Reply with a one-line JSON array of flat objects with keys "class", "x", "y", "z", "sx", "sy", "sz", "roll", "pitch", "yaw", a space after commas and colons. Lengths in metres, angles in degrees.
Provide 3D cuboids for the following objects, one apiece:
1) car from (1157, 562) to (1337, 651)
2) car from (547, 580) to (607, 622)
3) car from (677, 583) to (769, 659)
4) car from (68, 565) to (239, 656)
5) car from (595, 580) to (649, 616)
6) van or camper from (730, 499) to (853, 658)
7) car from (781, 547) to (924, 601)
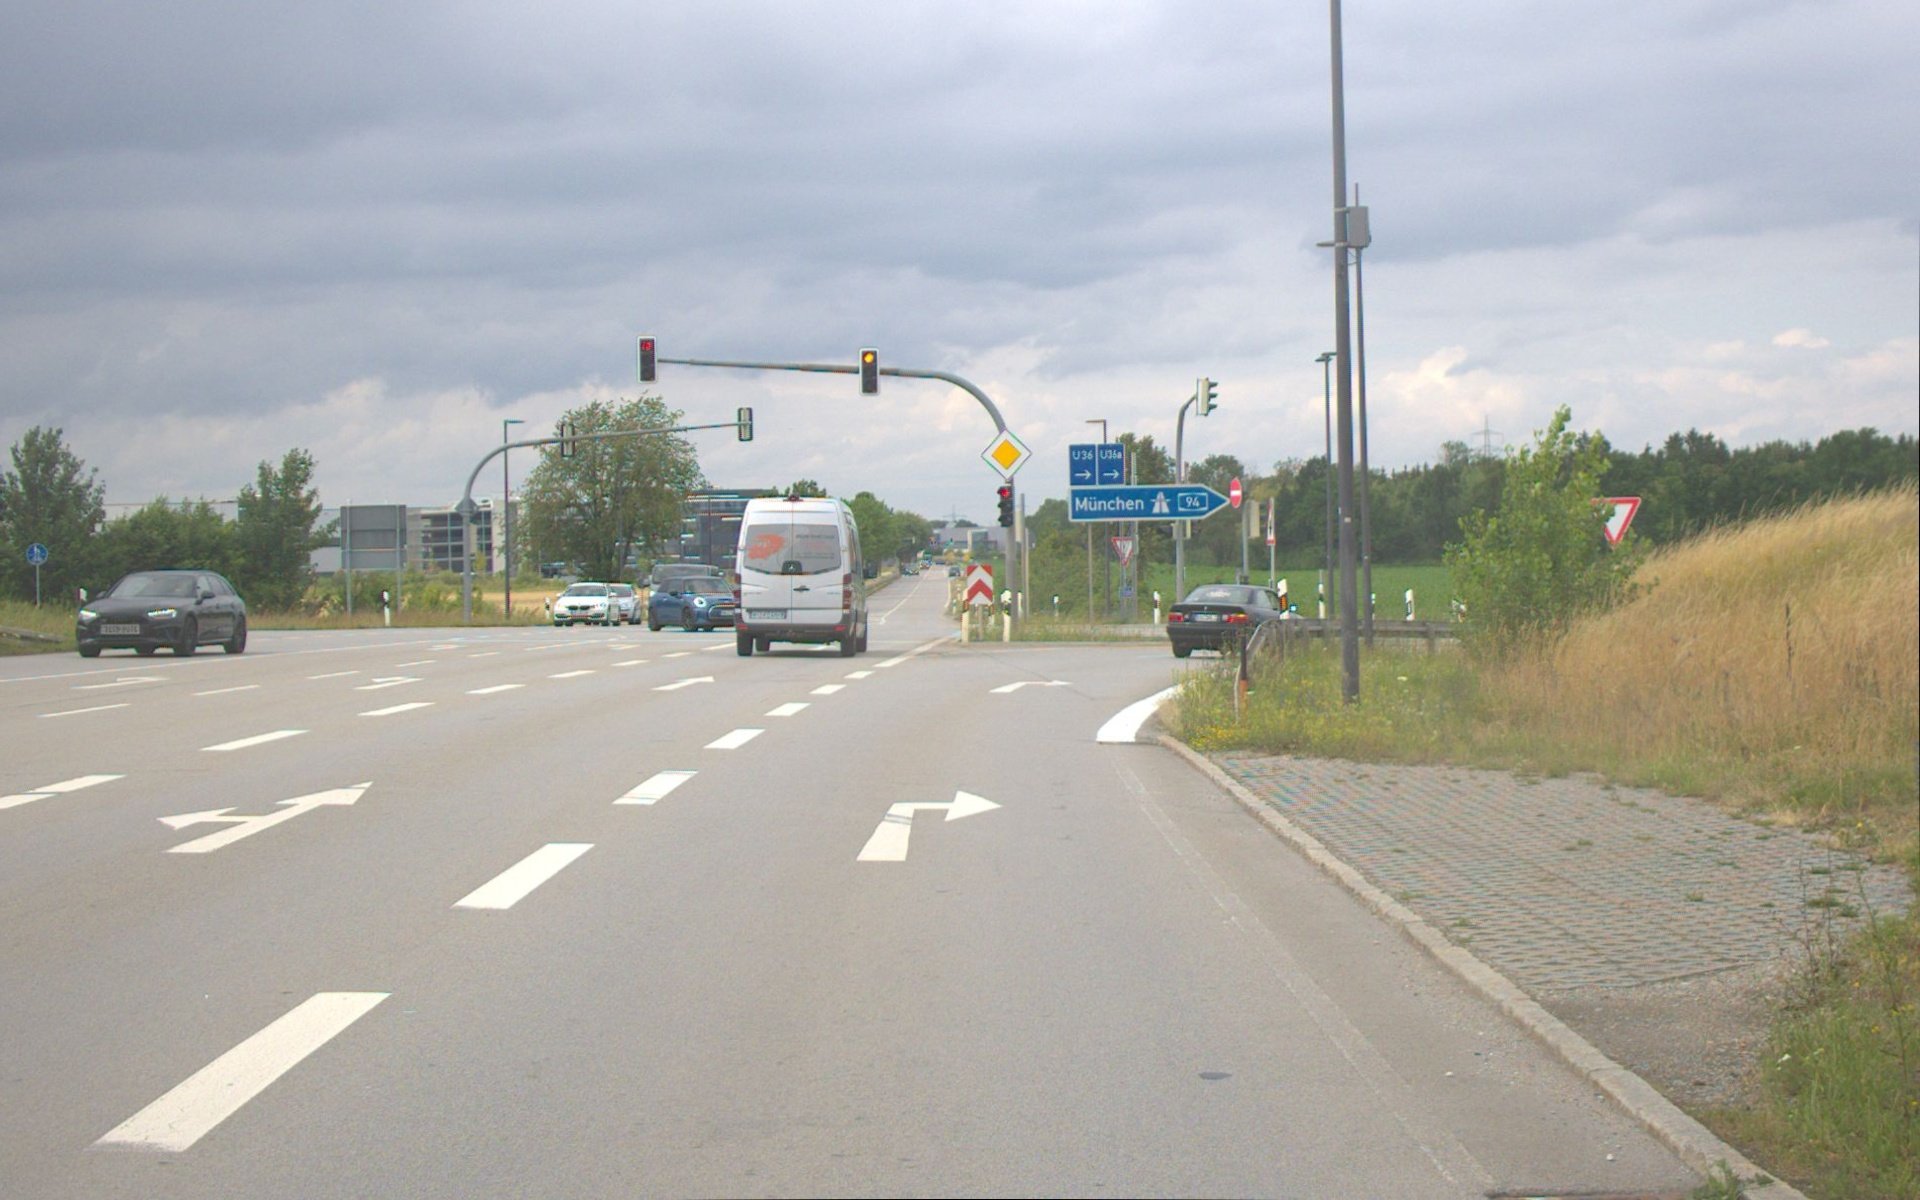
[{"class": "car", "x": 5.161, "y": 0.102, "z": 61.534, "sx": 1.521, "sy": 1.480, "sz": 3.608, "roll": -1, "pitch": 1, "yaw": 37}, {"class": "car", "x": -12.484, "y": 0.032, "z": 112.251, "sx": 1.480, "sy": 1.278, "sz": 3.534, "roll": -1, "pitch": 1, "yaw": 1}, {"class": "car", "x": -6.127, "y": 0.513, "z": 88.542, "sx": 1.637, "sy": 1.846, "sz": 3.750, "roll": -1, "pitch": 1, "yaw": -15}, {"class": "car", "x": -13.305, "y": 0.173, "z": 56.903, "sx": 1.844, "sy": 1.420, "sz": 3.909, "roll": -1, "pitch": 0, "yaw": 1}, {"class": "car", "x": -11.927, "y": -0.090, "z": 121.427, "sx": 1.480, "sy": 1.174, "sz": 3.534, "roll": -1, "pitch": 1, "yaw": 1}, {"class": "van or camper", "x": -2.793, "y": -0.381, "z": 57.628, "sx": 1.876, "sy": 2.572, "sz": 4.000, "roll": 0, "pitch": 1, "yaw": 0}, {"class": "car", "x": -2.631, "y": -0.627, "z": 83.955, "sx": 3.165, "sy": 1.262, "sz": 1.483, "roll": -1, "pitch": 1, "yaw": 31}]
